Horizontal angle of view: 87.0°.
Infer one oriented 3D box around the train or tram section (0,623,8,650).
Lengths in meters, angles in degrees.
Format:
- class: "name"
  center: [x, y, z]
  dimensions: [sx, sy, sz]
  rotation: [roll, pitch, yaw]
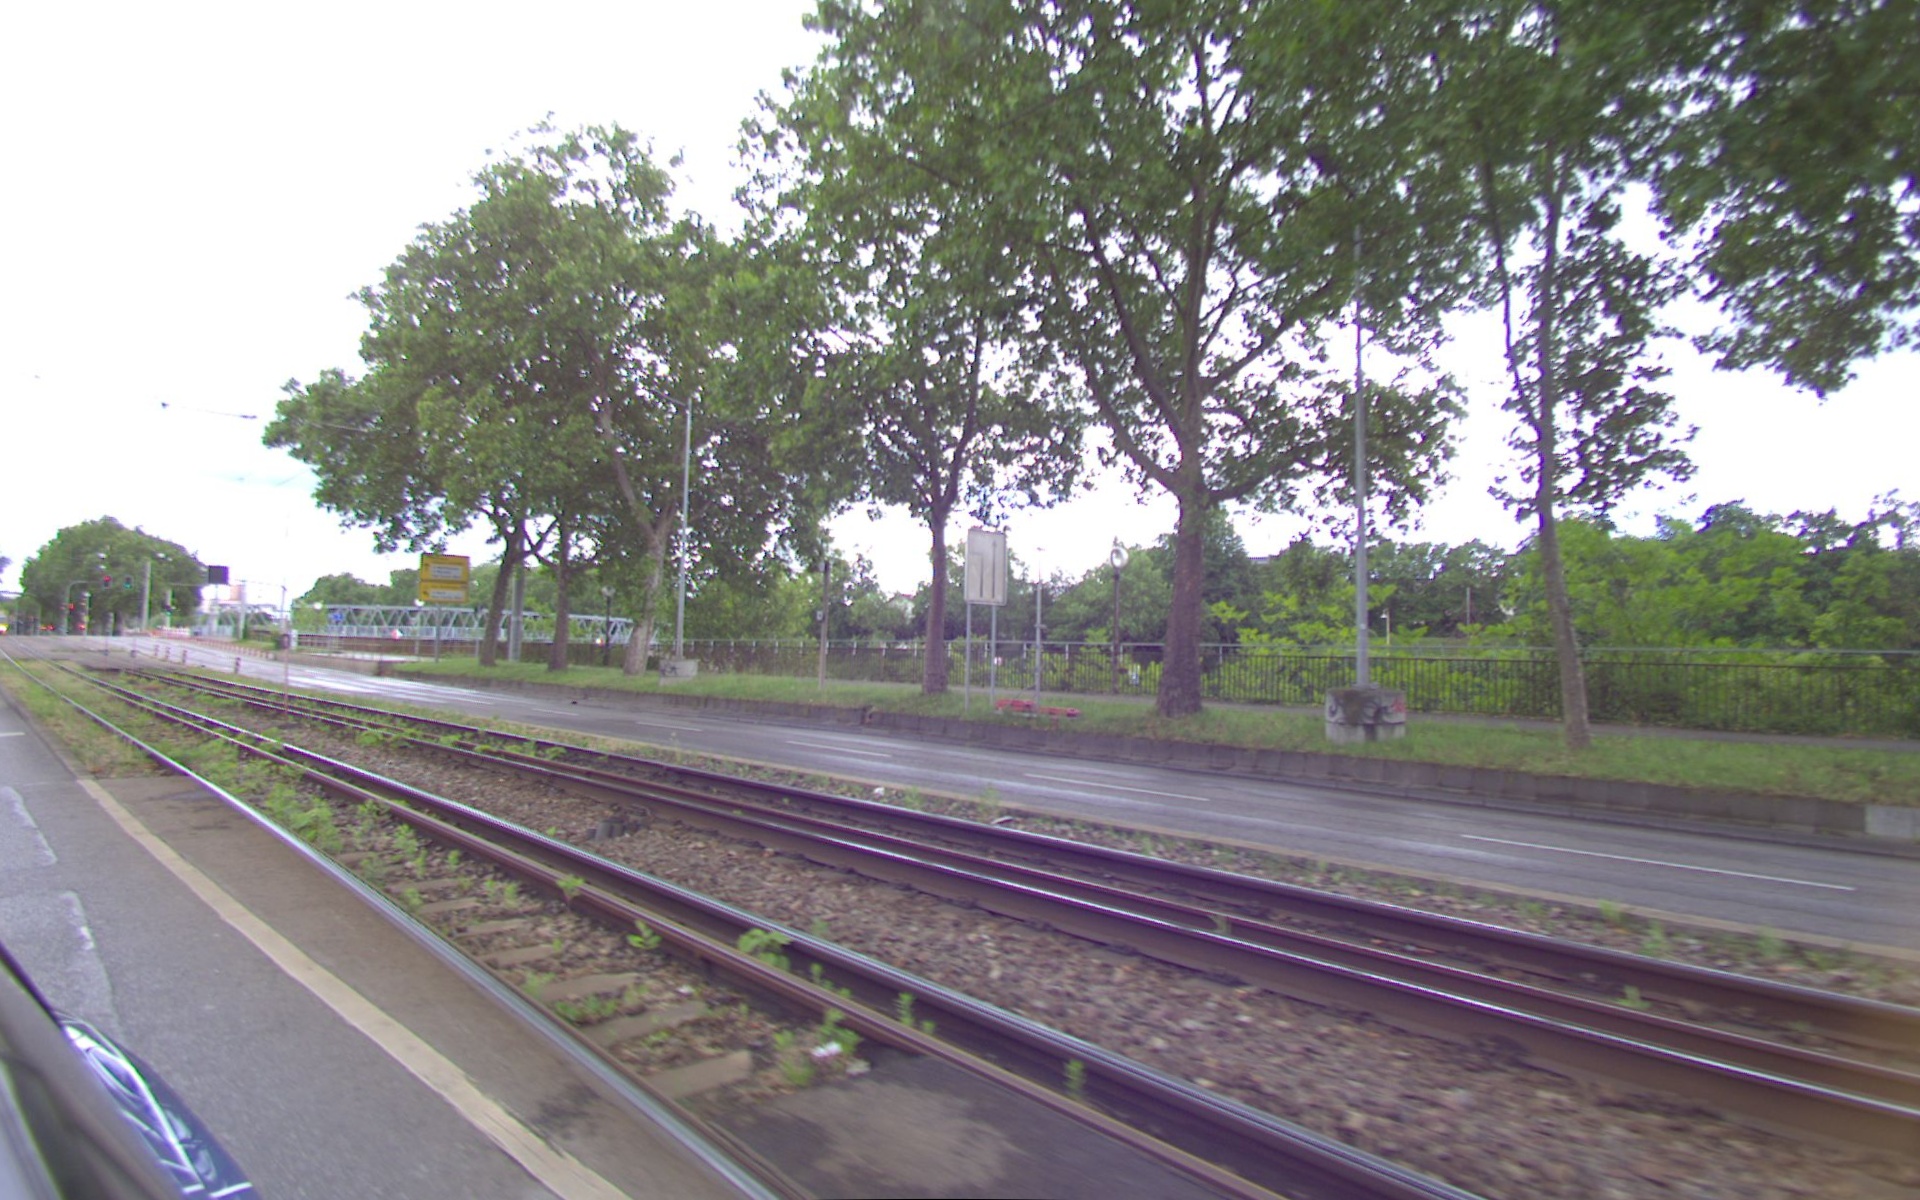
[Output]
- class: "train or tram section"
  center: [-129.828, 4.640, 134.583]
  dimensions: [17.561, 3.391, 3.688]
  rotation: [-1, -4, 44]
